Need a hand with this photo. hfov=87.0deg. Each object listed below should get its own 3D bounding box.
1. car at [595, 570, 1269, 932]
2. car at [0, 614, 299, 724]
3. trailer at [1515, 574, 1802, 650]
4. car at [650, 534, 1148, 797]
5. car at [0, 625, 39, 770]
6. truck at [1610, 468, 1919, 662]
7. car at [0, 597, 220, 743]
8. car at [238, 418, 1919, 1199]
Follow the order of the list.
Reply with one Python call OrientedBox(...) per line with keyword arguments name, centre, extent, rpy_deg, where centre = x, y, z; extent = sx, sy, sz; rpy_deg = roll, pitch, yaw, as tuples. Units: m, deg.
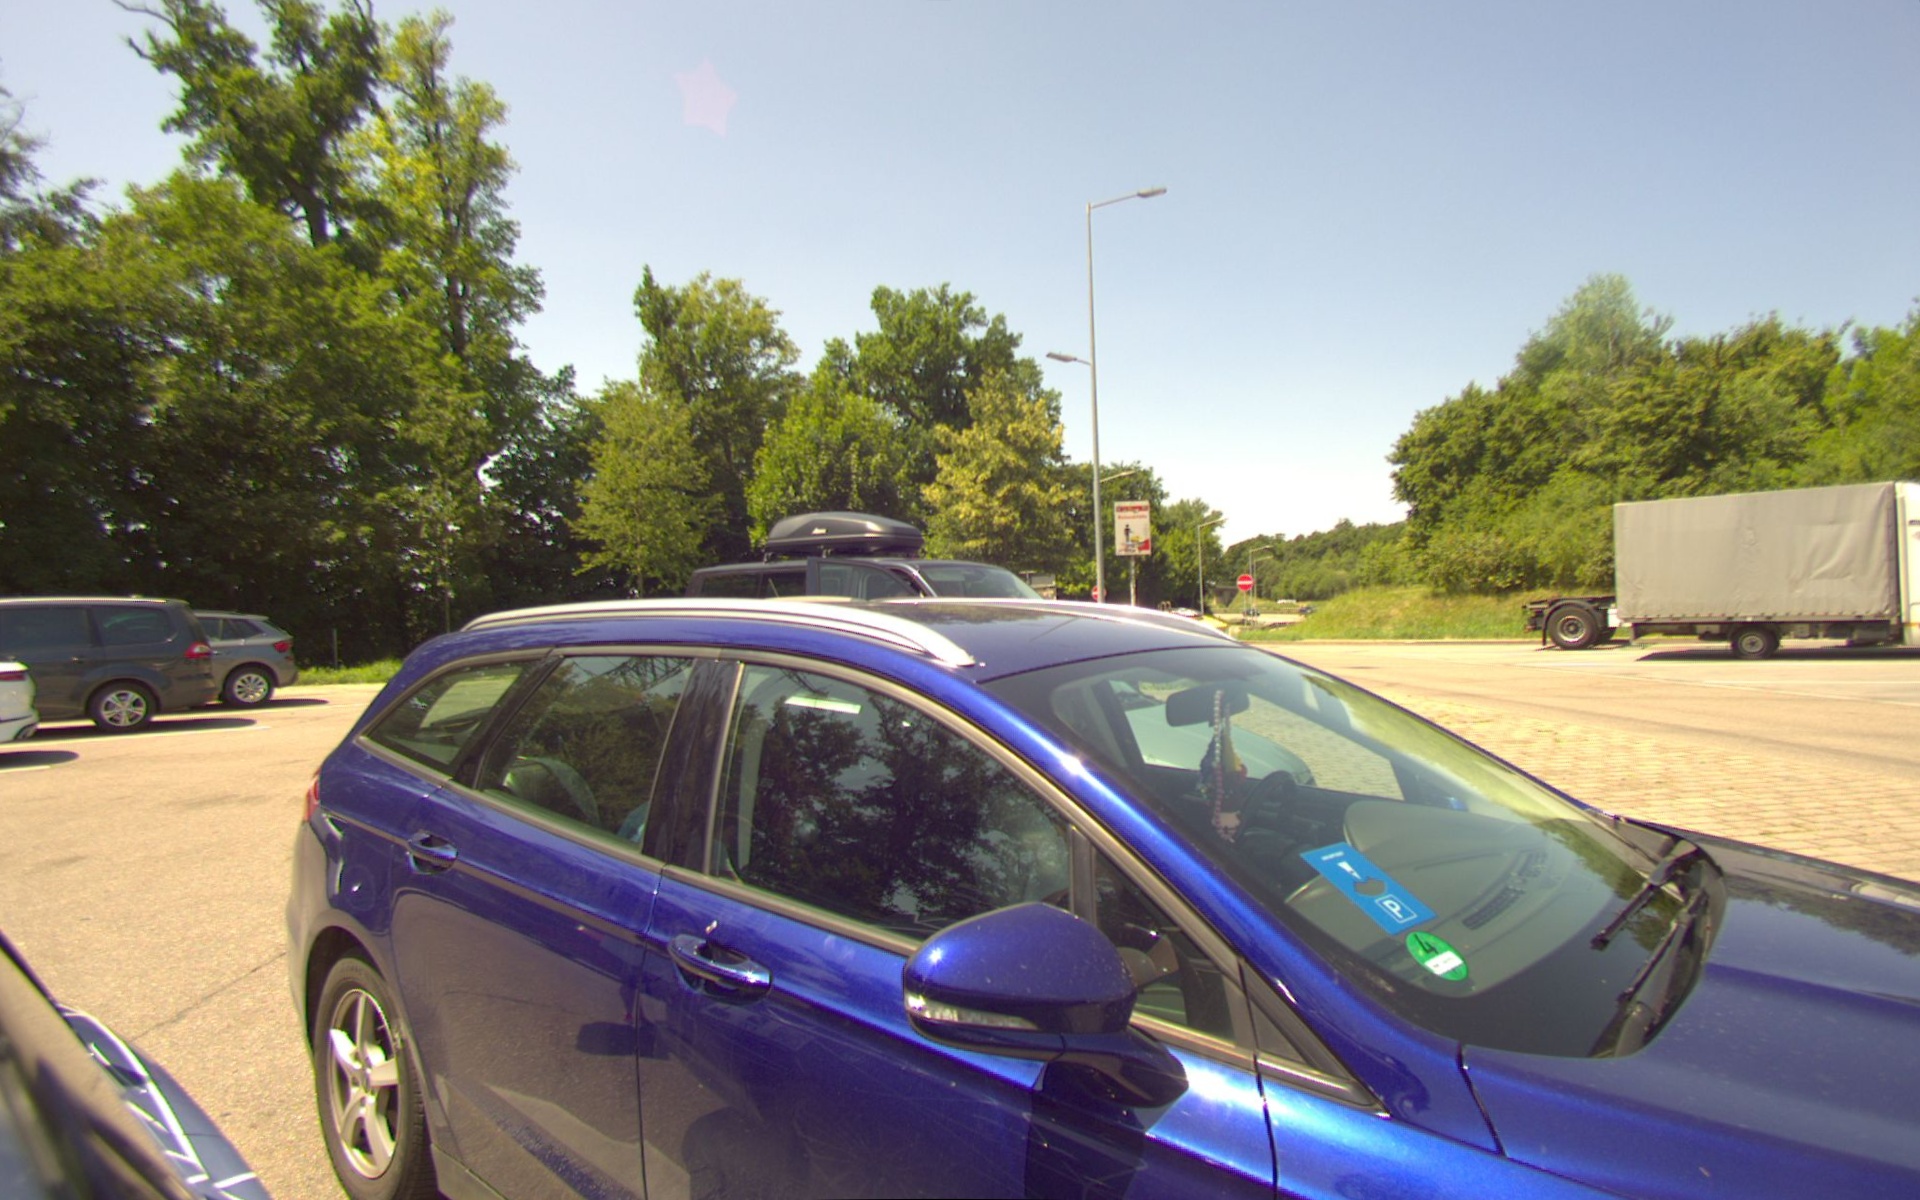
OrientedBox(name="car", centre=(-0.360, 0.648, 5.803), extent=(3.739, 1.424, 1.587), rpy_deg=(-2, -1, 40))
OrientedBox(name="car", centre=(-12.604, 0.972, 15.625), extent=(3.753, 1.488, 1.743), rpy_deg=(0, -1, -45))
OrientedBox(name="trailer", centre=(16.337, 0.337, 23.914), extent=(5.393, 1.608, 1.576), rpy_deg=(-2, -1, 41))
OrientedBox(name="car", centre=(-0.728, 0.531, 9.414), extent=(4.427, 1.875, 2.022), rpy_deg=(-2, -1, 40))
OrientedBox(name="car", centre=(-10.955, 0.944, 9.197), extent=(3.753, 1.377, 1.804), rpy_deg=(0, -1, -45))
OrientedBox(name="truck", centre=(16.716, -0.627, 18.841), extent=(7.308, 3.258, 2.294), rpy_deg=(-5, -2, 43))
OrientedBox(name="car", centre=(-11.709, 0.836, 12.585), extent=(3.830, 1.703, 1.883), rpy_deg=(0, -2, -45))
OrientedBox(name="car", centre=(0.243, 0.649, 2.082), extent=(4.427, 1.455, 1.763), rpy_deg=(-2, -1, 40))
